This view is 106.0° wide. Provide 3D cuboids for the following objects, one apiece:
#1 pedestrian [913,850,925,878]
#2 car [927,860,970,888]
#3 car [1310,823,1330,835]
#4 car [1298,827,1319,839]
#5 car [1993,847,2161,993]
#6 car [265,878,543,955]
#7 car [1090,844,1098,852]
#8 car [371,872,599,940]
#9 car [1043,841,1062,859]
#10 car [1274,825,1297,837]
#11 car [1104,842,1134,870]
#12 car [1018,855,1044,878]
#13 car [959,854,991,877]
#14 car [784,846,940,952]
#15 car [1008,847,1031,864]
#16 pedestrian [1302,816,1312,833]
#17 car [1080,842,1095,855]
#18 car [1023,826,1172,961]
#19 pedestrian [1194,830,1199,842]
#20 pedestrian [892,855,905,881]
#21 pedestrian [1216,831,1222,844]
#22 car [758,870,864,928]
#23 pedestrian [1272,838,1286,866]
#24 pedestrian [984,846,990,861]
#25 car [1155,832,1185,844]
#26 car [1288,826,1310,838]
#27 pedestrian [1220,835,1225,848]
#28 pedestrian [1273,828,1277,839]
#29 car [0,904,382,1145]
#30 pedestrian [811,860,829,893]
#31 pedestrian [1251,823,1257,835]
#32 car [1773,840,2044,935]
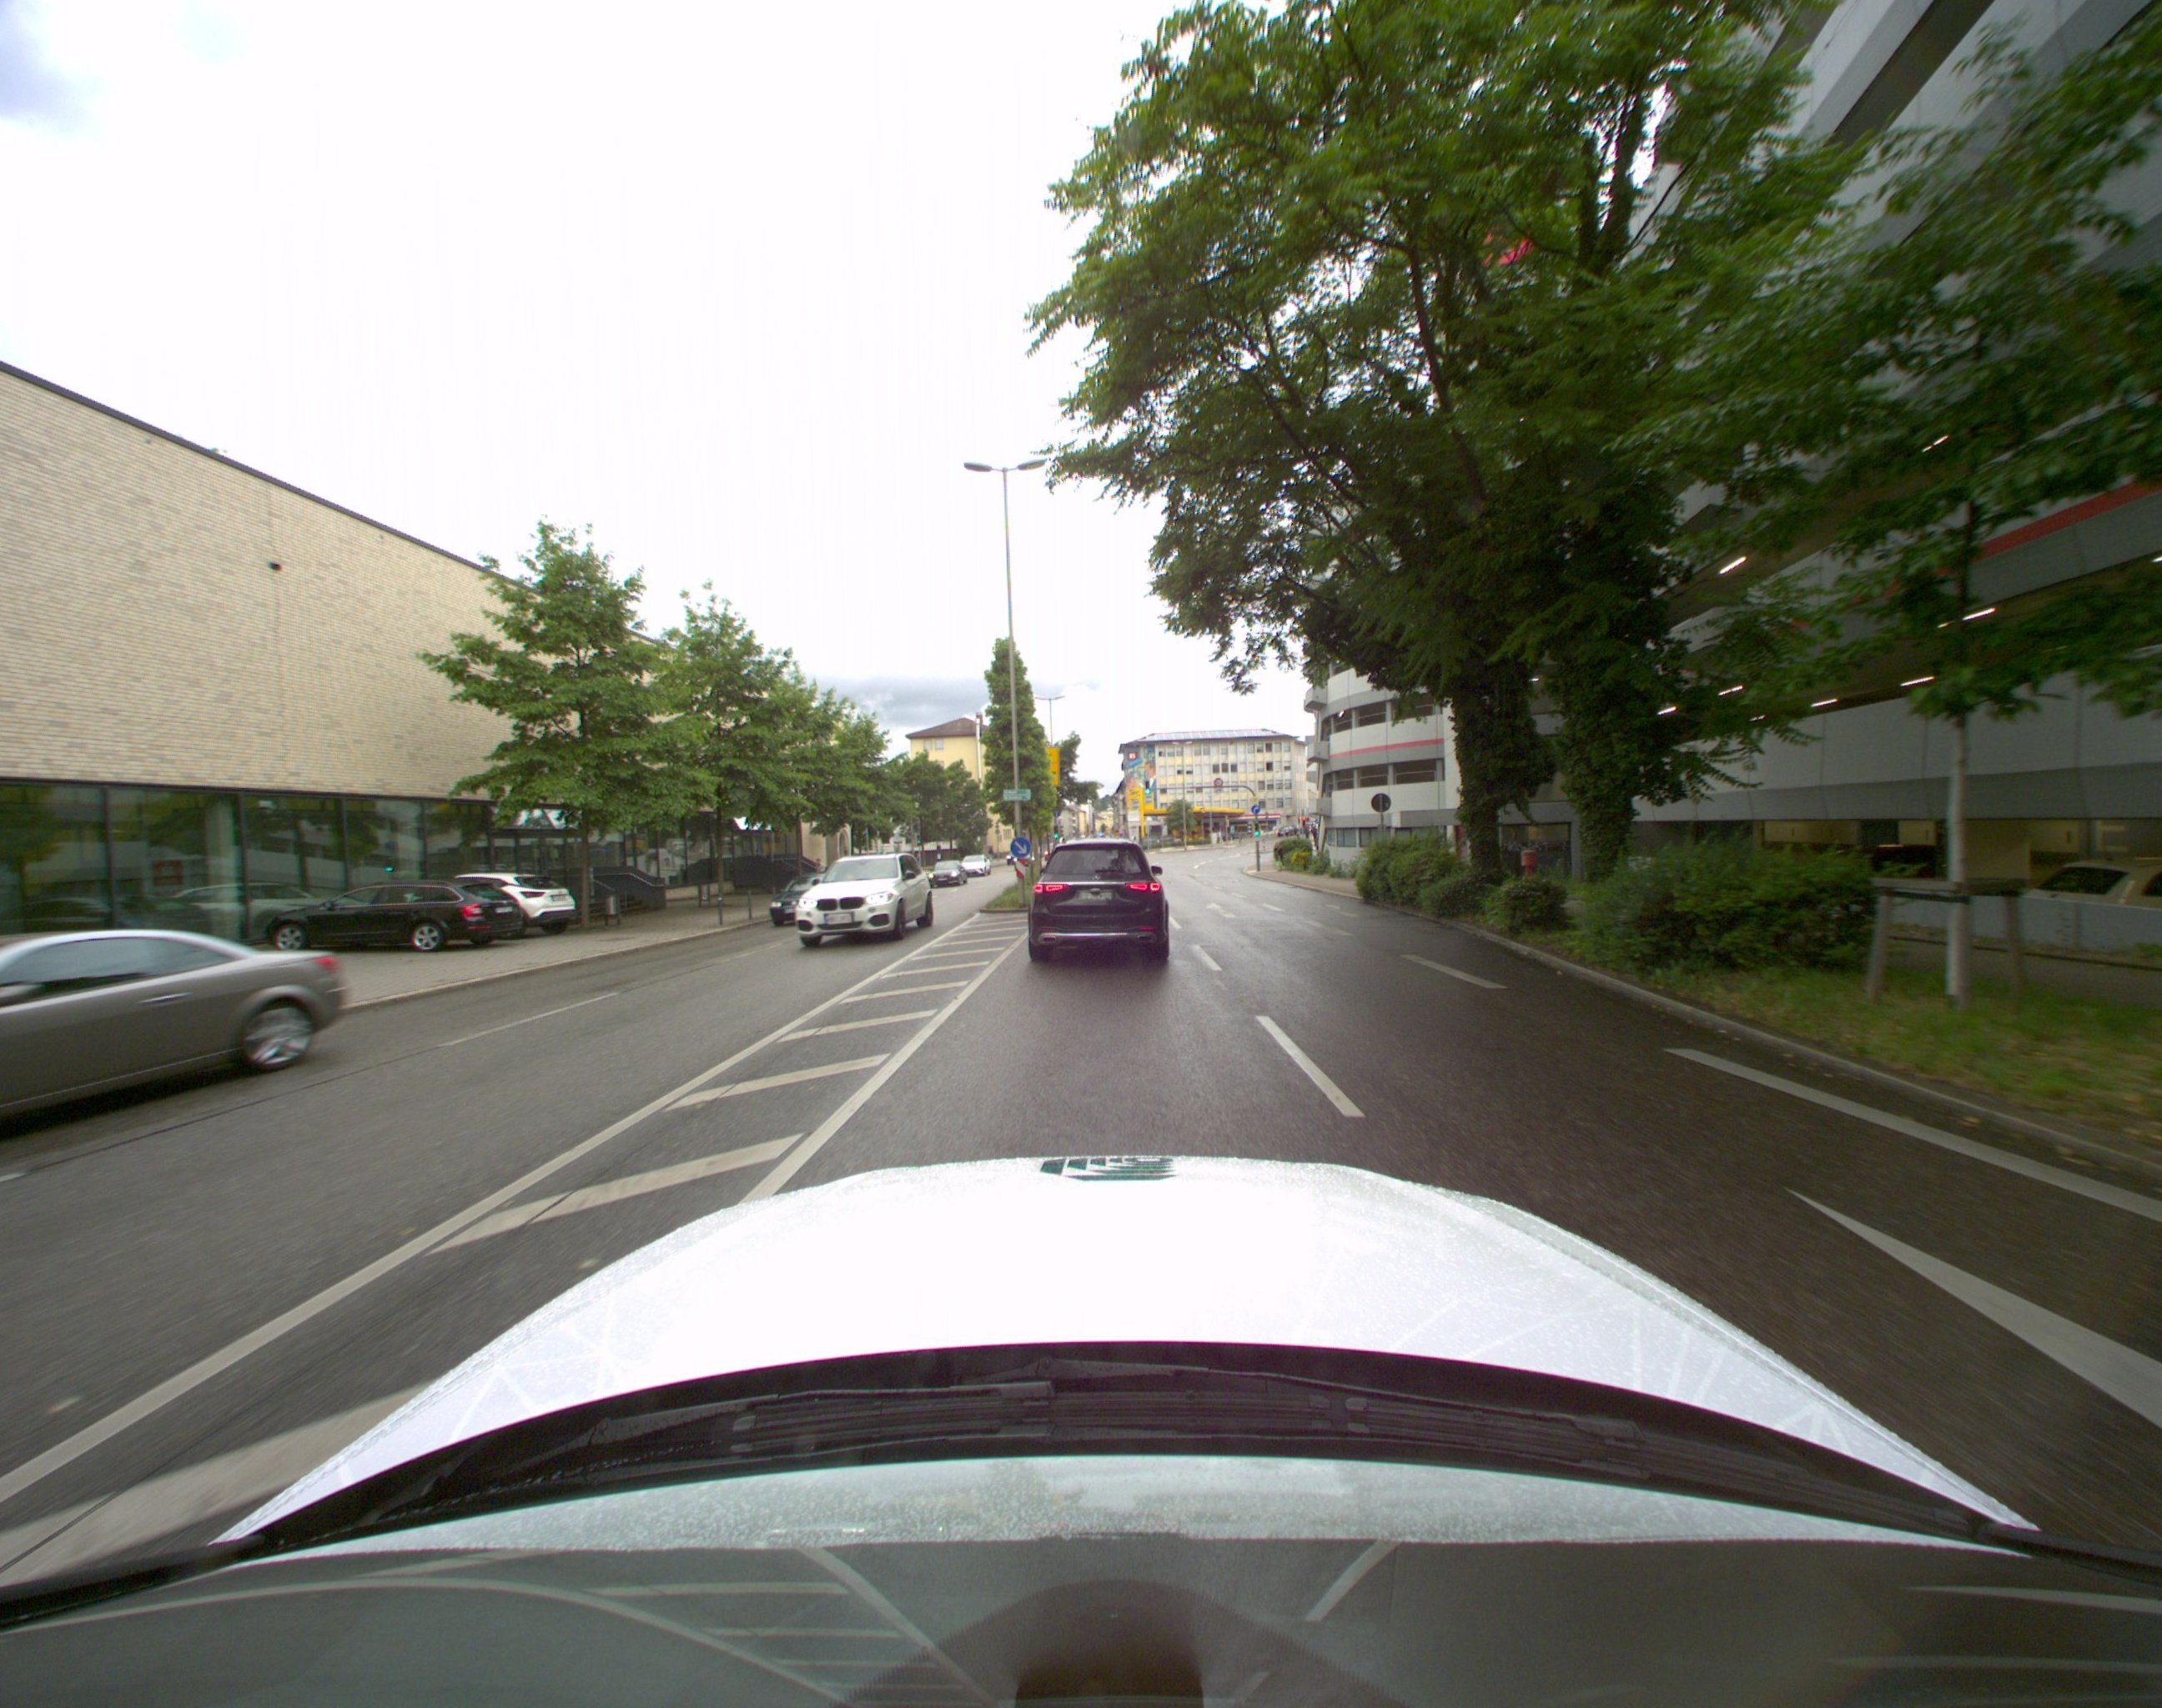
[{"bbox_3d":[-10.492,0.625,52.845,0.687,1.757,0.716,-2,0,-9],"label":"pedestrian"},{"bbox_3d":[-7.527,1.091,46.604,1.727,1.393,4.198,-4,0,-1],"label":"car"},{"bbox_3d":[40.013,-4.192,136.239,1.974,1.705,4.026,-2,1,35],"label":"car"},{"bbox_3d":[36.709,-3.407,131.211,1.974,1.705,4.026,-2,1,35],"label":"car"},{"bbox_3d":[15.012,0.803,10.800,3.431,1.783,1.823,-2,0,14],"label":"car"},{"bbox_3d":[-14.427,1.293,17.594,4.169,1.495,1.997,0,-1,-5],"label":"car"},{"bbox_3d":[3.295,-1.587,206.225,1.985,2.014,4.003,0,-1,3],"label":"car"},{"bbox_3d":[-14.515,1.249,20.013,4.158,1.547,2.002,0,-1,3],"label":"car"},{"bbox_3d":[-3.138,-0.431,90.261,1.787,1.854,4.791,-4,0,0],"label":"car"},{"bbox_3d":[30.926,-3.462,122.864,1.974,1.705,4.026,-2,1,35],"label":"car"},{"bbox_3d":[2.570,0.151,55.421,1.986,1.800,4.001,0,-1,2],"label":"car"},{"bbox_3d":[-3.995,1.007,65.879,1.727,1.625,4.230,-4,0,-1],"label":"car"},{"bbox_3d":[-7.559,0.806,58.471,1.727,1.469,4.230,-4,0,-1],"label":"car"},{"bbox_3d":[-4.421,0.834,17.276,1.884,1.811,4.575,-4,0,1],"label":"car"},{"bbox_3d":[-6.294,0.173,83.295,1.882,1.586,4.537,-4,0,0],"label":"car"},{"bbox_3d":[29.073,-3.829,104.725,0.853,2.128,0.947,-3,0,-4],"label":"pedestrian"},{"bbox_3d":[0.867,-0.746,111.258,1.987,1.614,4.189,0,-1,0],"label":"car"},{"bbox_3d":[0.289,0.550,12.911,1.986,1.800,4.001,0,-1,2],"label":"car"},{"bbox_3d":[17.195,-2.662,121.015,0.521,1.727,0.693,-2,1,31],"label":"pedestrian"},{"bbox_3d":[-11.795,0.910,52.736,0.691,1.656,0.609,-3,1,-20],"label":"pedestrian"},{"bbox_3d":[18.222,-2.225,107.729,0.521,1.727,0.693,-2,1,29],"label":"pedestrian"},{"bbox_3d":[-7.950,1.269,24.341,1.740,1.412,3.970,-4,0,0],"label":"car"},{"bbox_3d":[12.179,-0.129,50.047,0.639,1.710,0.474,-2,-1,38],"label":"pedestrian"},{"bbox_3d":[-11.123,-0.069,96.319,0.647,1.727,0.628,-3,0,-2],"label":"pedestrian"},{"bbox_3d":[12.404,-2.218,113.266,1.747,1.376,3.952,-3,1,-42],"label":"car"},{"bbox_3d":[33.978,-3.435,127.059,1.974,1.705,4.026,-2,1,35],"label":"car"},{"bbox_3d":[18.247,-1.599,104.899,0.570,1.697,0.631,0,-1,3],"label":"pedestrian"},{"bbox_3d":[29.868,-3.147,125.270,0.478,1.641,0.441,-1,-1,30],"label":"pedestrian"},{"bbox_3d":[-7.984,1.266,6.059,1.823,1.388,4.229,-4,0,0],"label":"car"},{"bbox_3d":[-13.432,1.136,41.980,0.641,1.666,1.017,0,-1,-4],"label":"pedestrian"},{"bbox_3d":[25.719,-3.730,121.055,0.521,1.727,0.693,-2,1,29],"label":"pedestrian"},{"bbox_3d":[16.758,0.657,16.707,3.431,1.783,1.823,-2,0,14],"label":"car"}]
